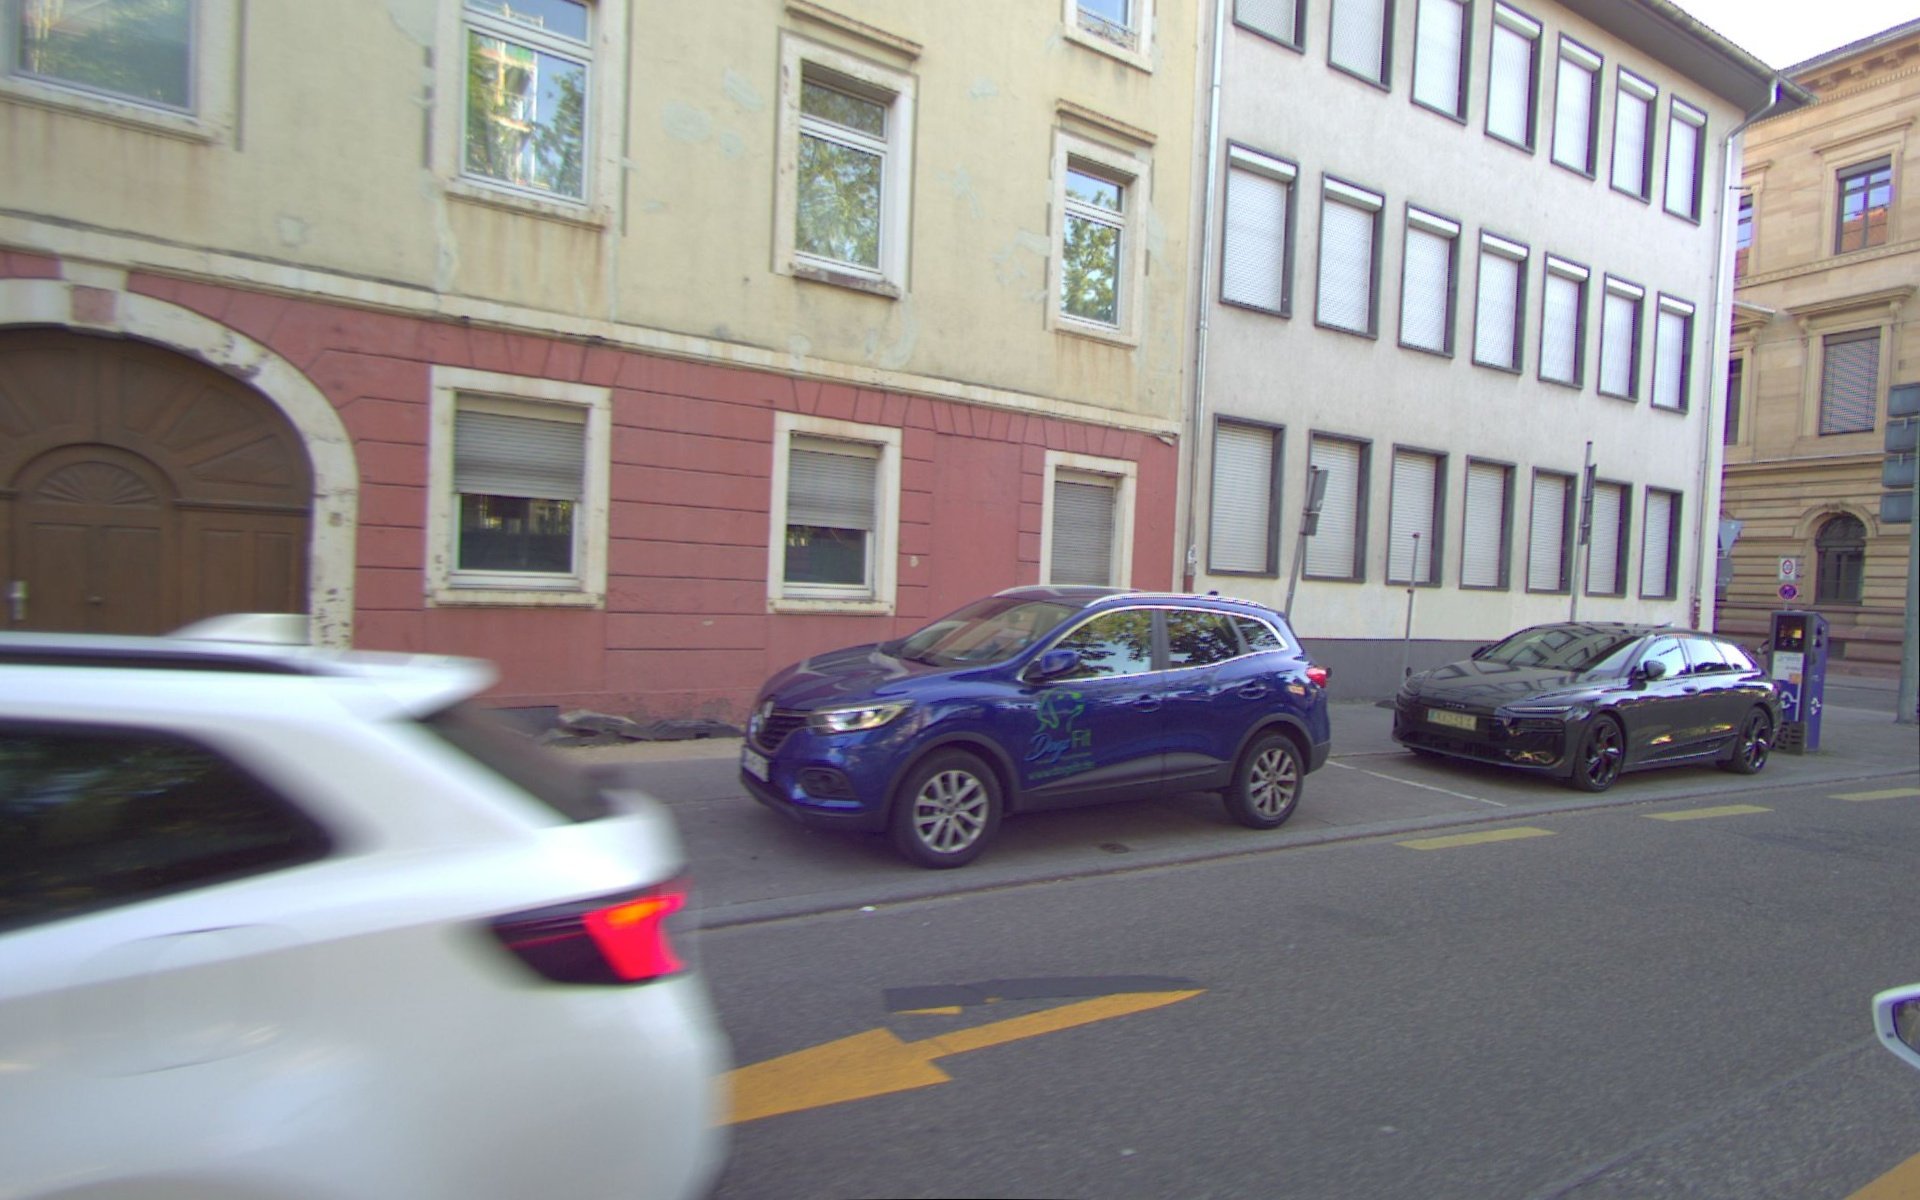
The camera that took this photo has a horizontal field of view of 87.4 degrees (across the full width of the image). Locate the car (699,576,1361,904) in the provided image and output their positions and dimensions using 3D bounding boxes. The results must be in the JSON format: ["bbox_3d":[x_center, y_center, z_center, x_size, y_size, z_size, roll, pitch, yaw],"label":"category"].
[{"bbox_3d":[0.569,0.753,7.076,4.295,1.690,1.925,2,0,-30],"label":"car"}]

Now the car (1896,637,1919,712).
[{"bbox_3d":[19.546,1.452,17.579,1.749,1.408,4.308,1,0,-20],"label":"car"}]

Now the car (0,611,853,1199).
[{"bbox_3d":[-2.511,0.740,1.408,4.377,1.440,1.726,2,0,-31],"label":"car"}]

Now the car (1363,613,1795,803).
[{"bbox_3d":[6.592,0.993,10.571,4.704,1.524,1.815,2,2,-30],"label":"car"}]
